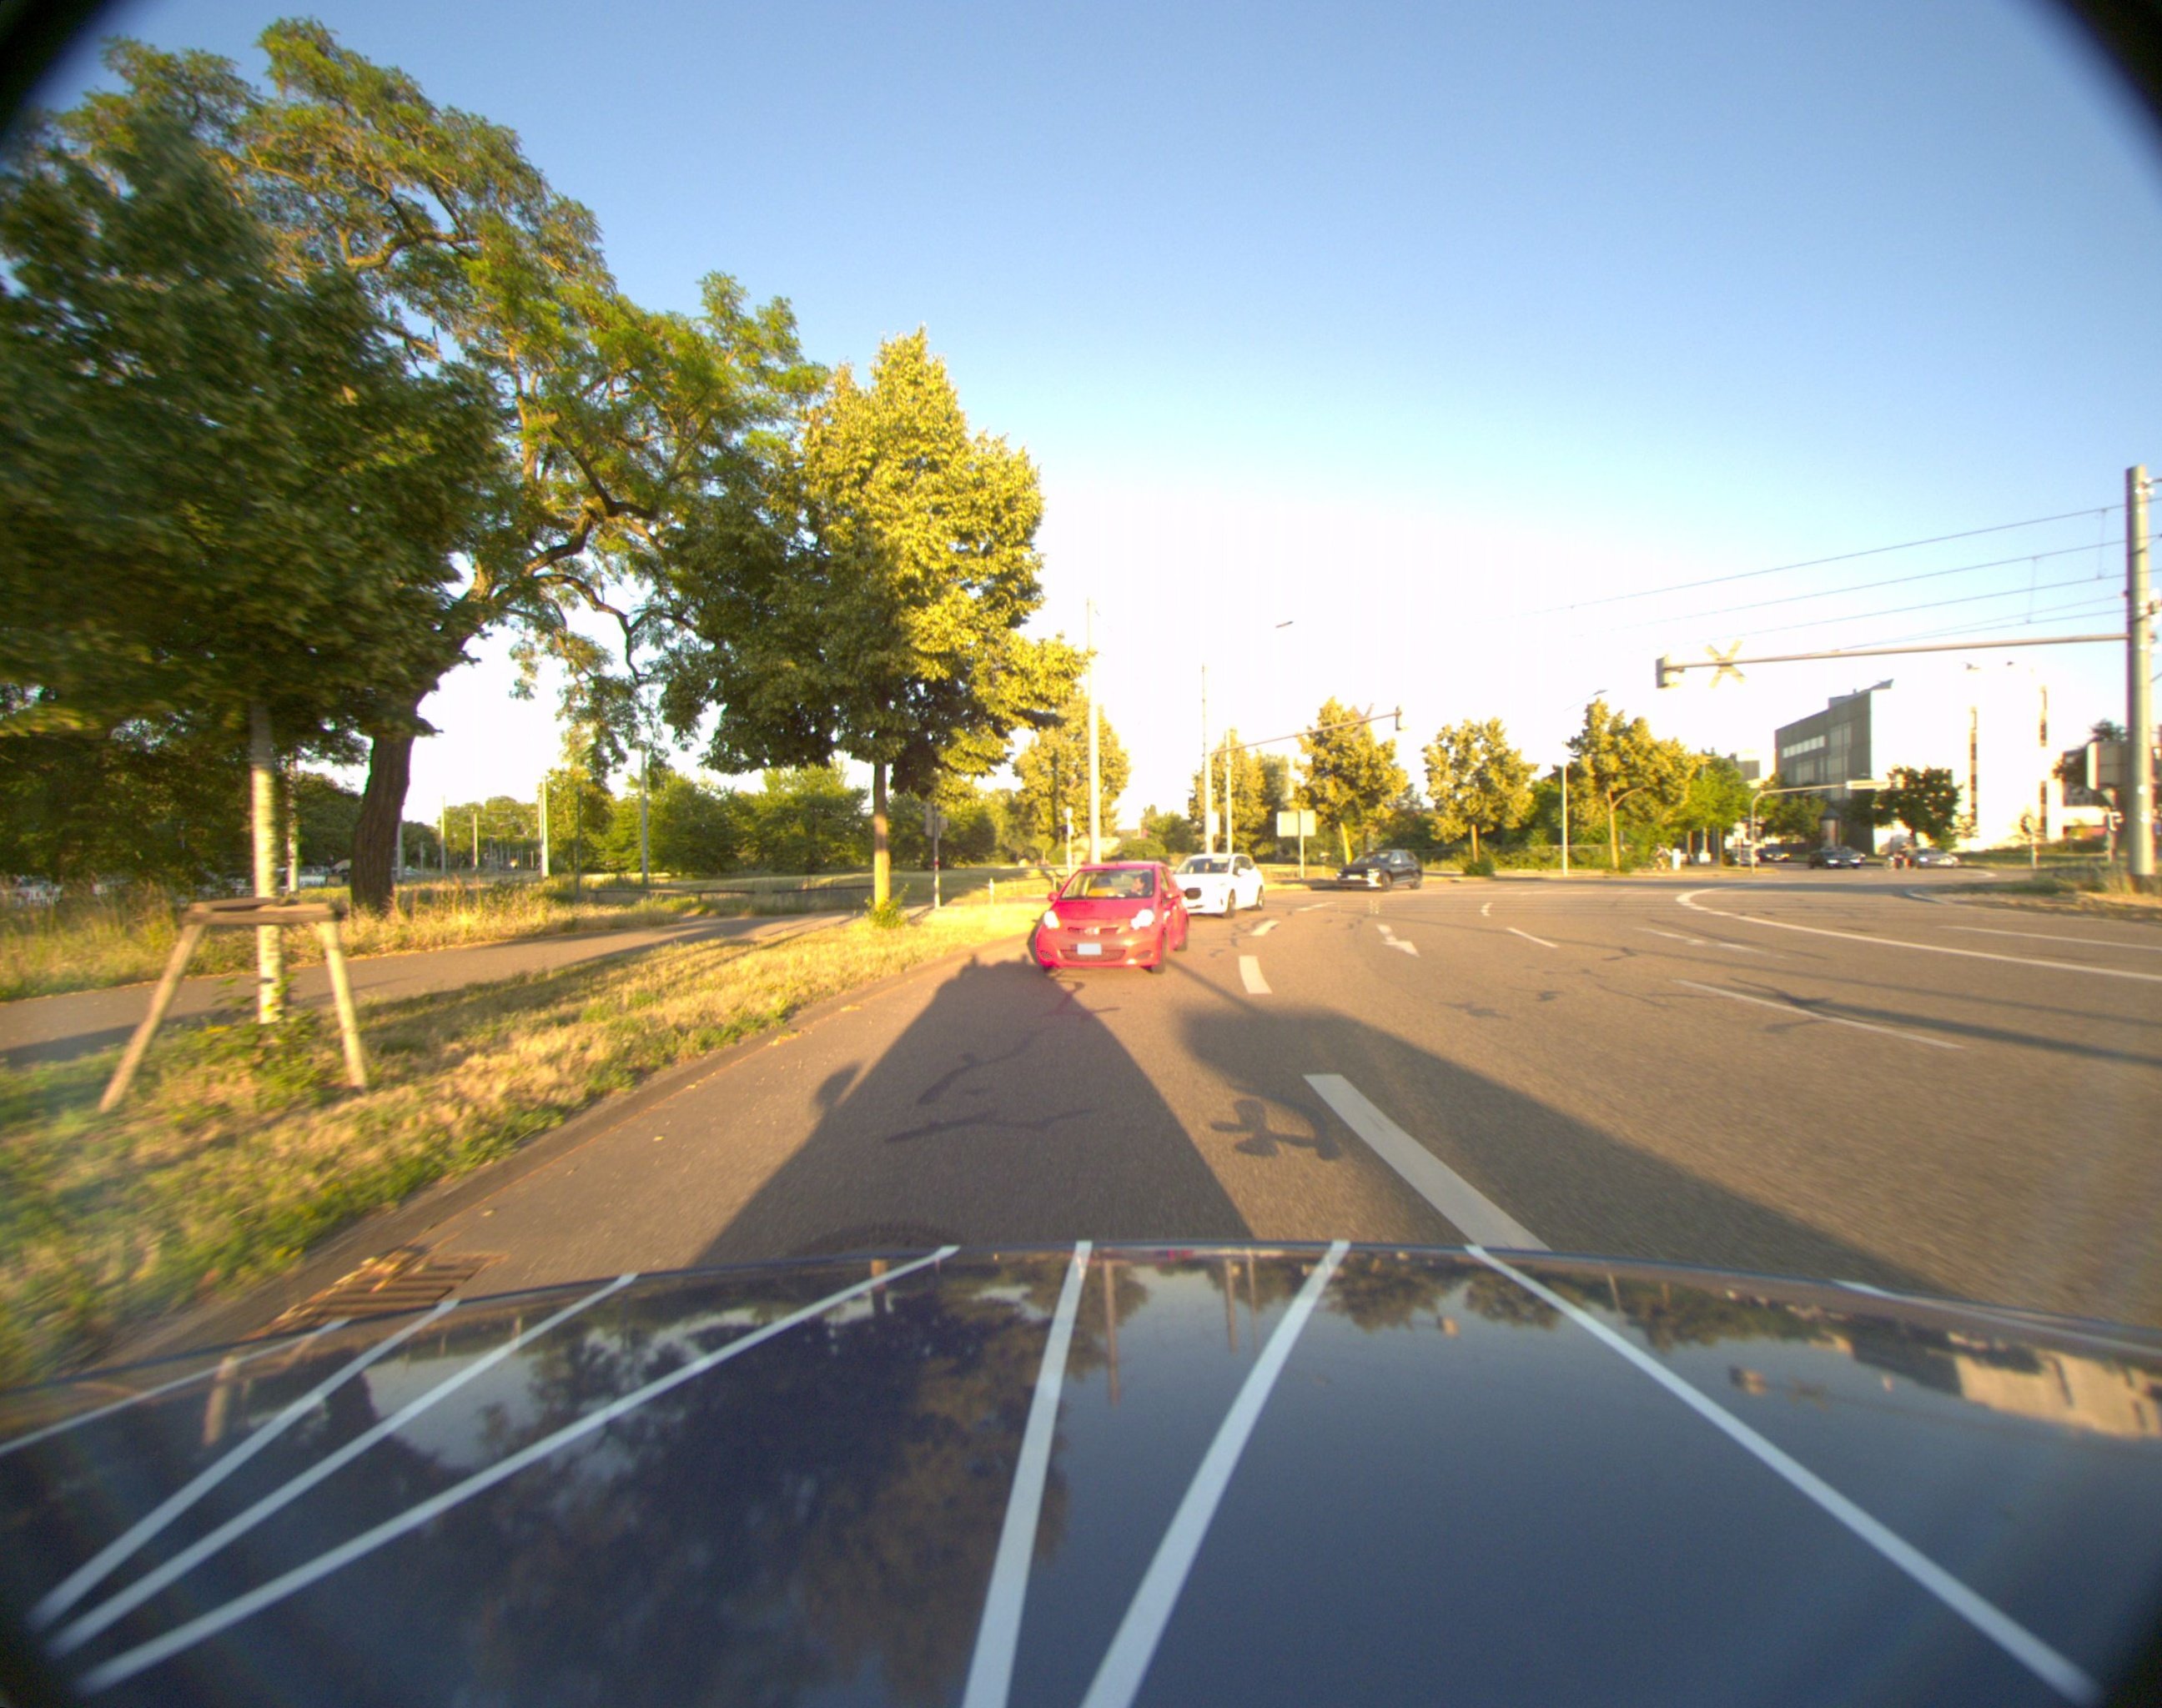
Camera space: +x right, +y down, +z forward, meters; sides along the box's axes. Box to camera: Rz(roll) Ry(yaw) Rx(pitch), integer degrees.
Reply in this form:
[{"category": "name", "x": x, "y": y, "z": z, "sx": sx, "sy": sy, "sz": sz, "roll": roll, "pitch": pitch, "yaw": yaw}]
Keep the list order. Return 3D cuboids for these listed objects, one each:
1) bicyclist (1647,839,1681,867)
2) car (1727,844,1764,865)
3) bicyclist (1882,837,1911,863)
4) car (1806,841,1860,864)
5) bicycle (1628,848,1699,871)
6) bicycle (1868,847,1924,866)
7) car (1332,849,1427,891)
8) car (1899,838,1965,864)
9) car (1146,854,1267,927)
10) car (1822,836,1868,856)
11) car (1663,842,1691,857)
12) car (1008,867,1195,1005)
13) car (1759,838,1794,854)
[{"category": "bicyclist", "x": 37.841, "y": -0.073, "z": 49.352, "sx": 1.414, "sy": 1.739, "sz": 1.125, "roll": -1, "pitch": 1, "yaw": 14}, {"category": "car", "x": 57.991, "y": 0.036, "z": 66.394, "sx": 1.868, "sy": 1.740, "sz": 3.859, "roll": -1, "pitch": 1, "yaw": 32}, {"category": "bicyclist", "x": 51.675, "y": -0.238, "z": 48.168, "sx": 0.999, "sy": 1.623, "sz": 0.811, "roll": -1, "pitch": 1, "yaw": 16}, {"category": "car", "x": 56.645, "y": -0.110, "z": 57.331, "sx": 1.868, "sy": 1.616, "sz": 4.200, "roll": -1, "pitch": 1, "yaw": 30}, {"category": "bicycle", "x": 37.820, "y": 0.347, "z": 49.392, "sx": 3.533, "sy": 1.387, "sz": 1.125, "roll": -1, "pitch": 1, "yaw": 14}, {"category": "bicycle", "x": 51.666, "y": 0.152, "z": 48.191, "sx": 2.324, "sy": 1.172, "sz": 0.811, "roll": -1, "pitch": 1, "yaw": 16}, {"category": "car", "x": 11.890, "y": 0.588, "z": 30.166, "sx": 4.223, "sy": 1.549, "sz": 1.823, "roll": -1, "pitch": 0, "yaw": -42}, {"category": "car", "x": 57.117, "y": -0.206, "z": 51.060, "sx": 1.868, "sy": 1.616, "sz": 4.200, "roll": -1, "pitch": 1, "yaw": 32}, {"category": "car", "x": 3.276, "y": 0.825, "z": 19.128, "sx": 1.756, "sy": 1.549, "sz": 4.222, "roll": -1, "pitch": 0, "yaw": 28}, {"category": "car", "x": 63.894, "y": -0.675, "z": 63.612, "sx": 1.868, "sy": 1.616, "sz": 4.200, "roll": -1, "pitch": 1, "yaw": 32}, {"category": "car", "x": 69.485, "y": -0.576, "z": 88.641, "sx": 1.868, "sy": 1.616, "sz": 4.200, "roll": -1, "pitch": 1, "yaw": 28}, {"category": "car", "x": 0.517, "y": 0.965, "z": 10.780, "sx": 1.691, "sy": 1.413, "sz": 4.215, "roll": -1, "pitch": 1, "yaw": 15}, {"category": "car", "x": 71.182, "y": -0.842, "z": 77.805, "sx": 1.868, "sy": 1.616, "sz": 4.200, "roll": -1, "pitch": 1, "yaw": 31}]
